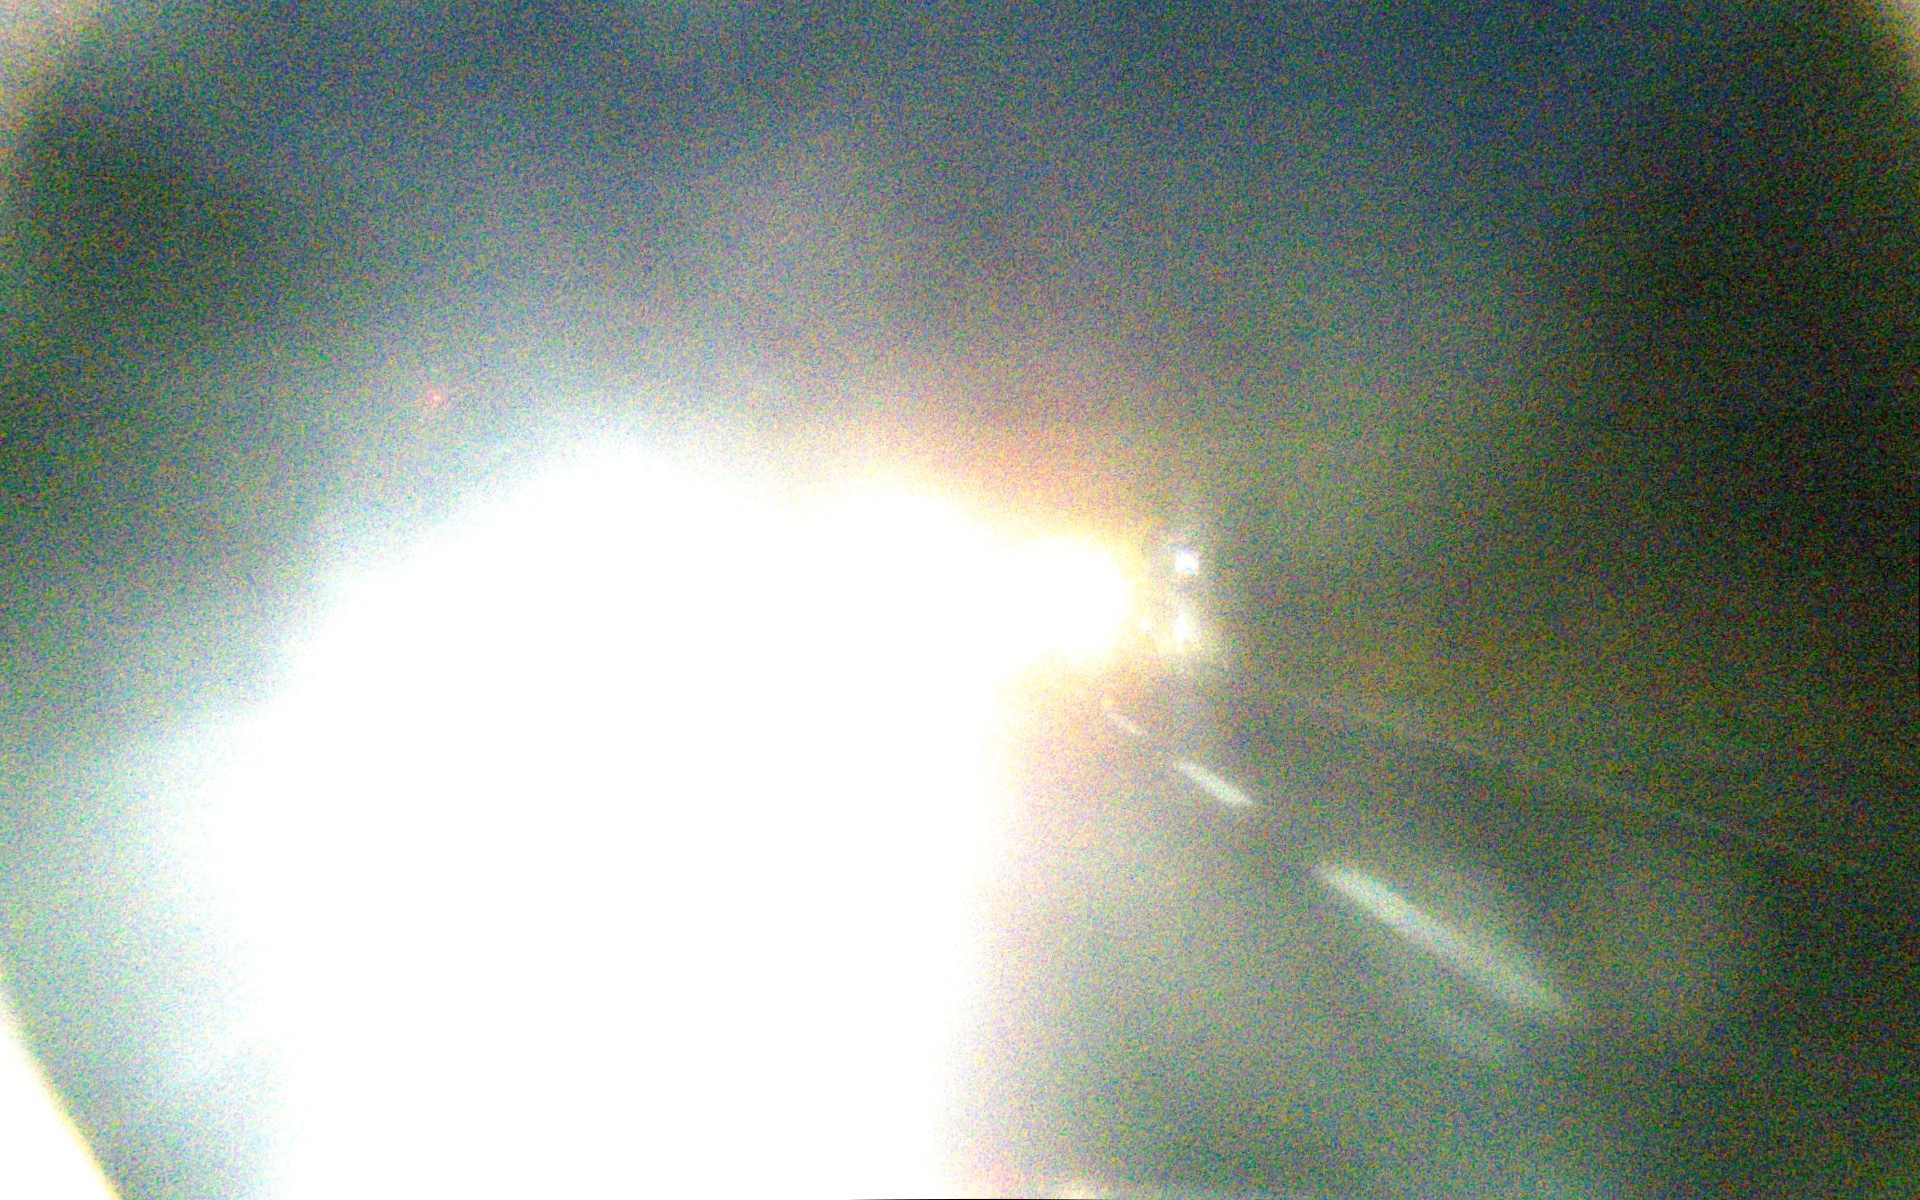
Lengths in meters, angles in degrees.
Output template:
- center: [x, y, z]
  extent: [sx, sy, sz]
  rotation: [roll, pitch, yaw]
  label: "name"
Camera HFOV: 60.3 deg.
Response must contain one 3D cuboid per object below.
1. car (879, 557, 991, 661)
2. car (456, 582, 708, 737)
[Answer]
- center: [-0.472, 0.156, 28.582]
  extent: [1.772, 1.650, 3.998]
  rotation: [1, 0, -2]
  label: "car"
- center: [-4.081, 0.604, 18.597]
  extent: [1.953, 1.499, 4.274]
  rotation: [1, 0, -2]
  label: "car"
